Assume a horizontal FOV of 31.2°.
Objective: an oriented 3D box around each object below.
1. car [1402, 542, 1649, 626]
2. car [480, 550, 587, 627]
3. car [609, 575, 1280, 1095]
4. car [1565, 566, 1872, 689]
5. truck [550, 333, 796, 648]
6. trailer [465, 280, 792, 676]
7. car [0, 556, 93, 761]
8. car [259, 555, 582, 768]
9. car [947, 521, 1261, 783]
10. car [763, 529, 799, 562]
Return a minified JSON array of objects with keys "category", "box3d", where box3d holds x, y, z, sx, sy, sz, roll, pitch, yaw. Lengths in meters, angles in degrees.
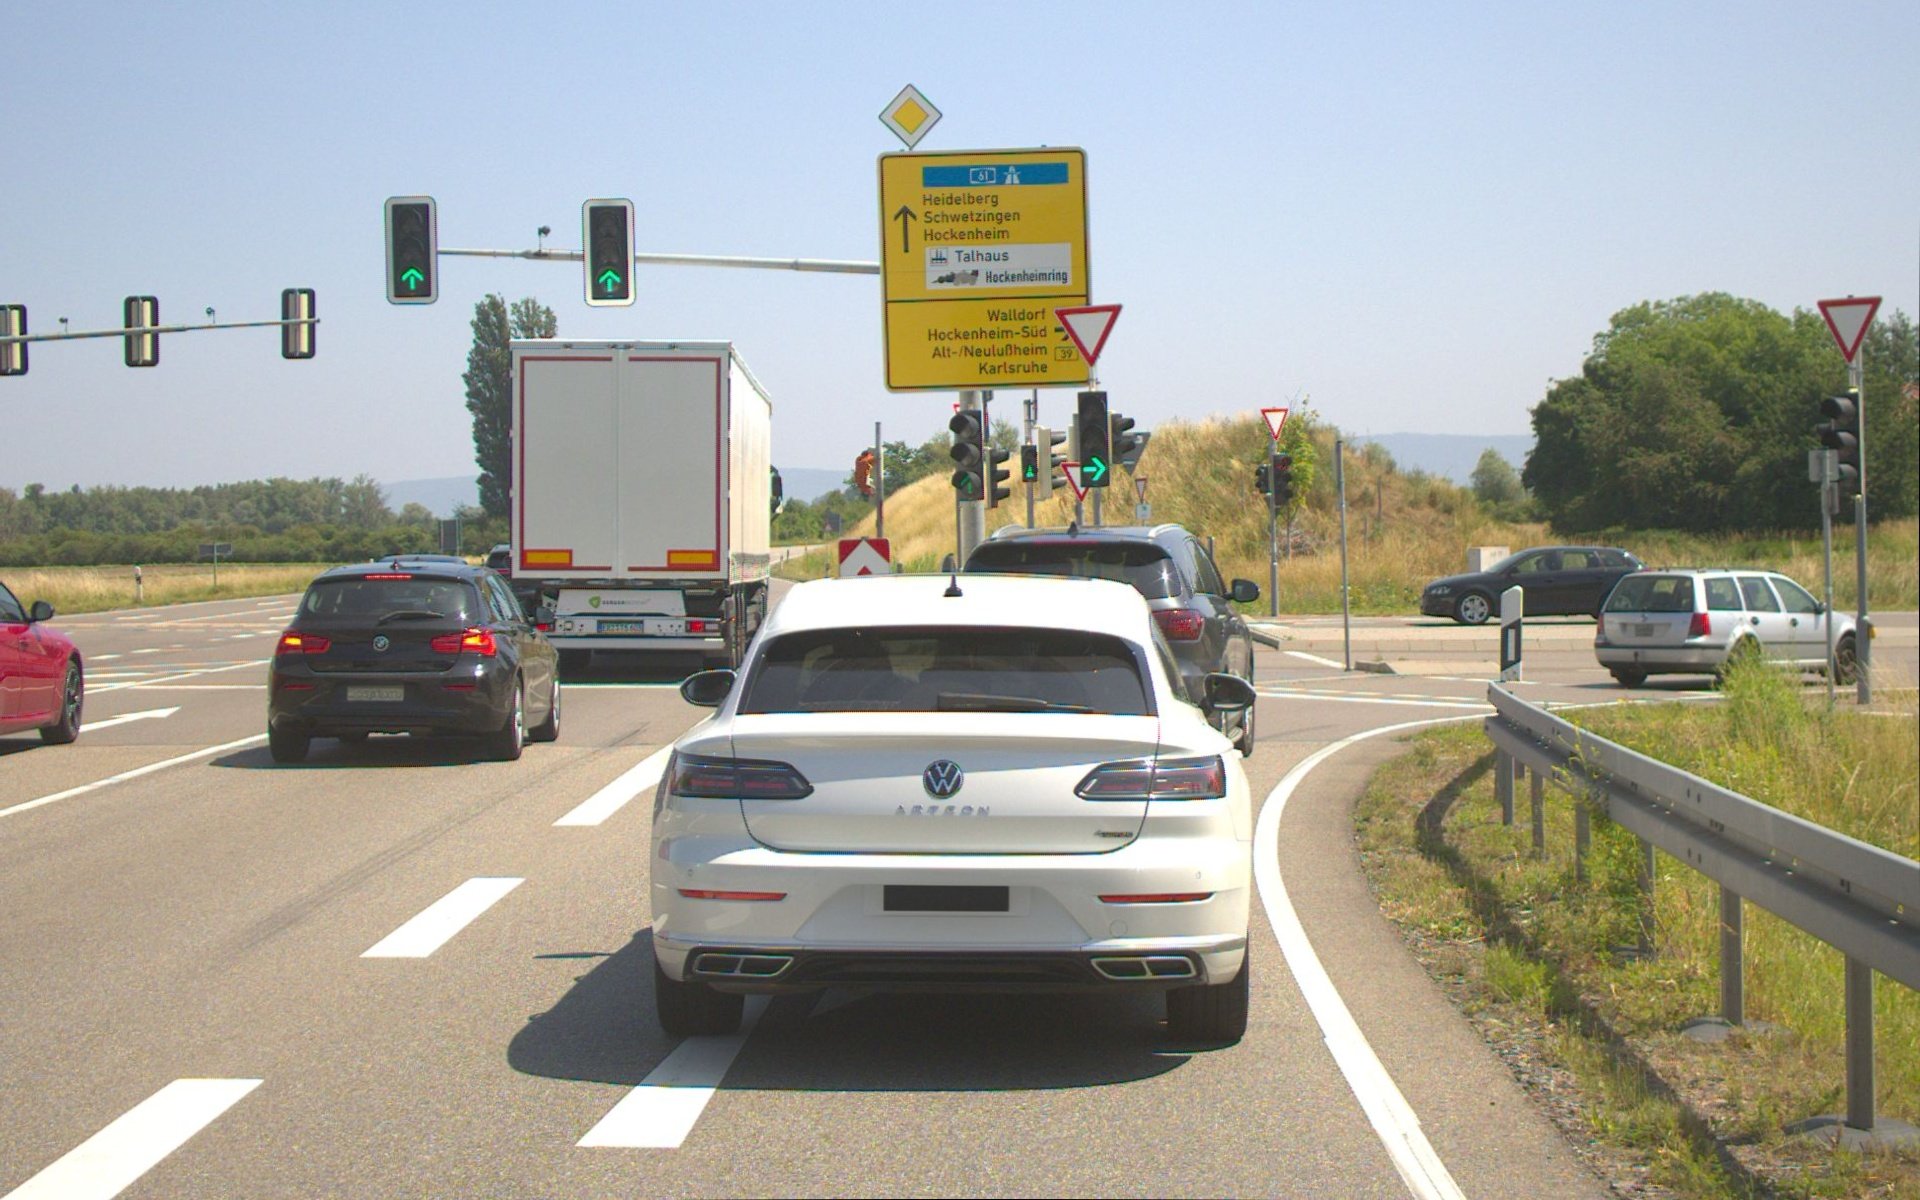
[{"category":"car","box3d":[10.307,-0.303,62.862,4.260,1.364,1.776,-1,2,3]},{"category":"car","box3d":[-8.526,-0.247,68.962,1.809,1.488,4.022,0,1,-2]},{"category":"car","box3d":[-0.062,0.632,11.792,1.848,1.428,4.608,0,0,0]},{"category":"car","box3d":[9.289,0.305,41.916,1.804,1.424,4.082,1,1,44]},{"category":"truck","box3d":[-4.300,-1.624,52.870,3.381,4.527,6.373,0,1,-1]},{"category":"trailer","box3d":[-4.125,-1.488,45.996,3.381,4.527,12.872,0,1,-1]},{"category":"car","box3d":[-7.713,0.402,25.289,1.749,1.416,4.567,1,1,-3]},{"category":"car","box3d":[-3.965,0.395,25.913,1.784,1.426,4.381,1,1,-1]},{"category":"car","box3d":[1.067,0.300,23.413,1.935,1.611,4.377,0,0,5]},{"category":"car","box3d":[-10.263,-3.119,196.872,1.980,1.863,4.468,0,0,-4]}]
